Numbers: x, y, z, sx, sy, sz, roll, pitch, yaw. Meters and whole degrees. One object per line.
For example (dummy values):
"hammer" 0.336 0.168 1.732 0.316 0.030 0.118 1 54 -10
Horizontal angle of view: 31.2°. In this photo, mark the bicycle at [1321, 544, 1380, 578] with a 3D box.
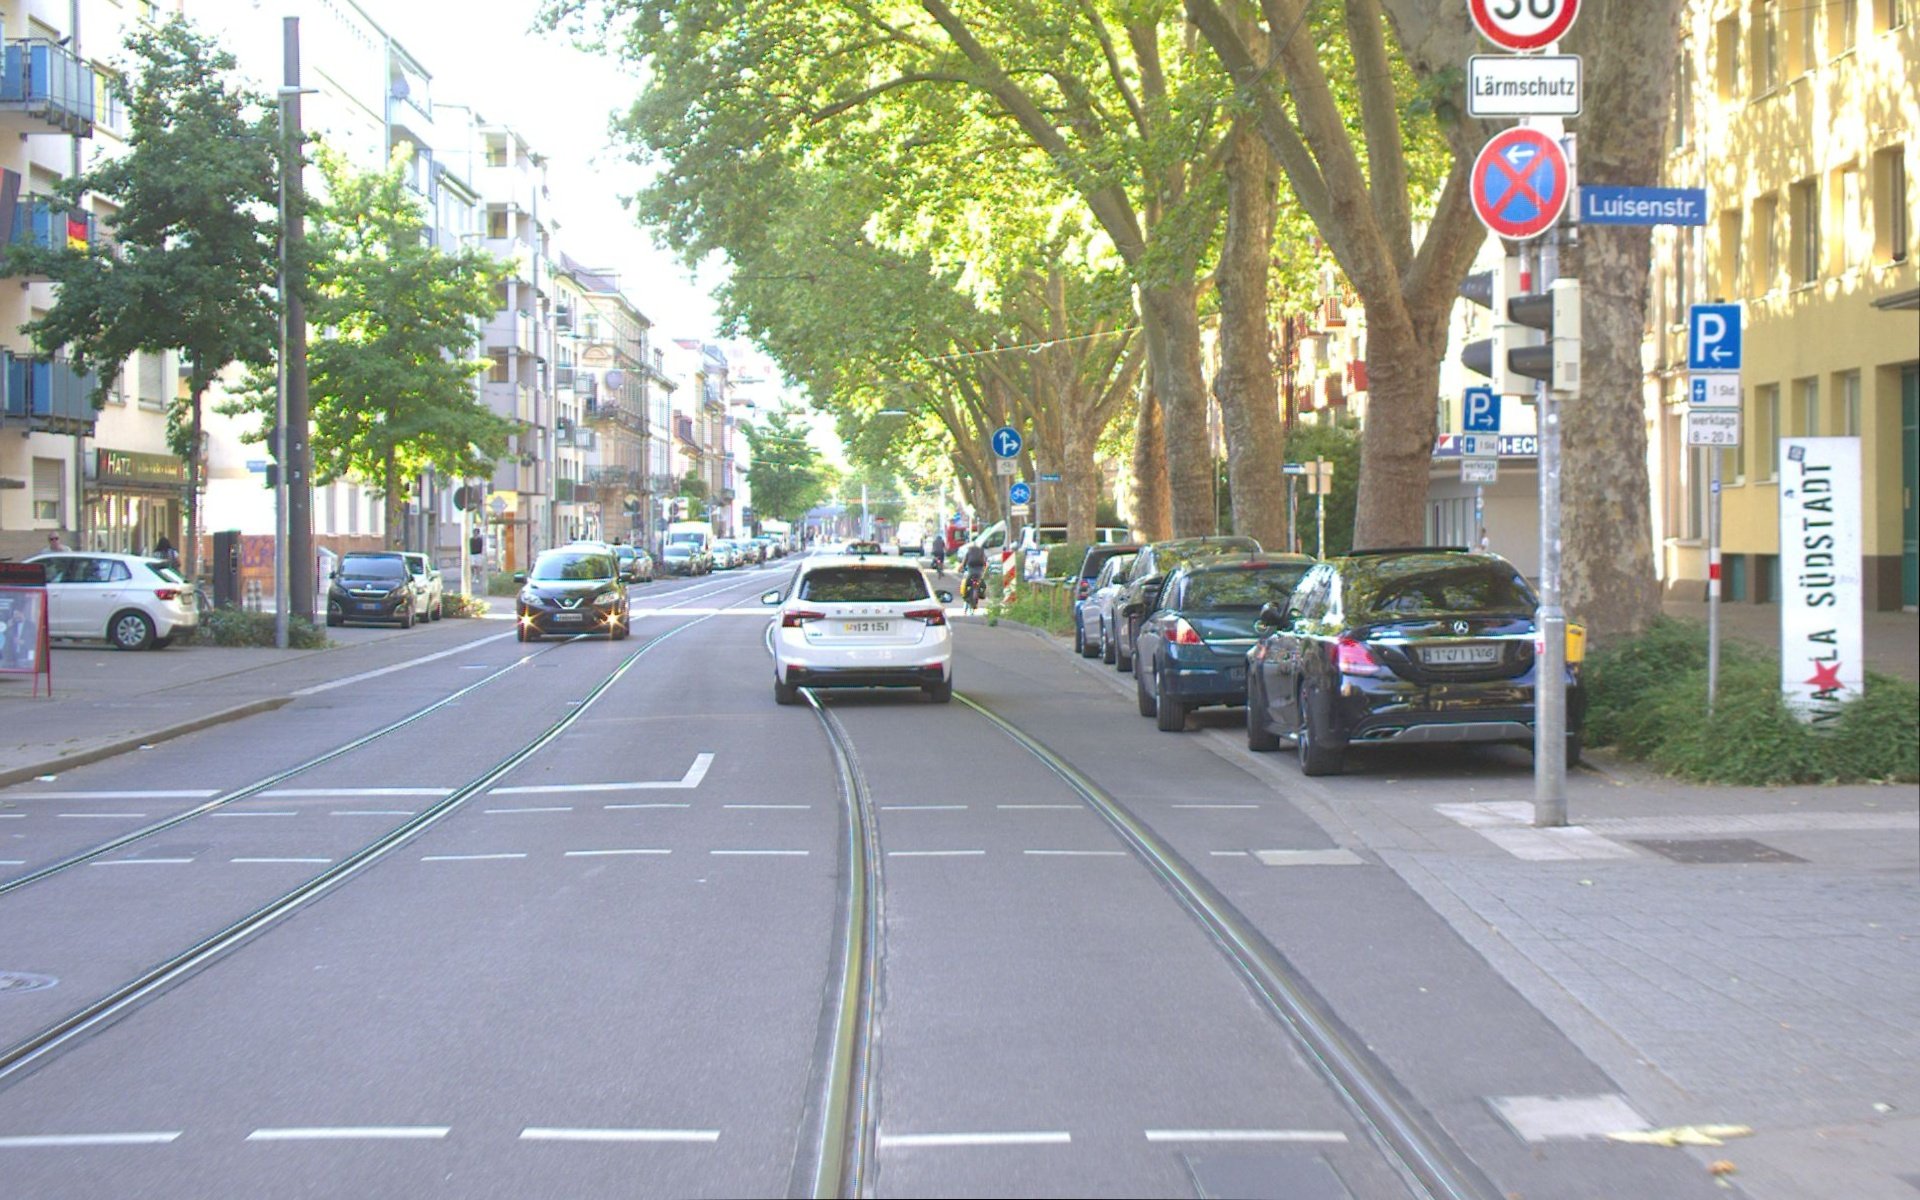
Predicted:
"bicycle" 12.788 -1.269 112.653 1.791 1.038 0.618 -2 1 -5

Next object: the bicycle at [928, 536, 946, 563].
"bicycle" -0.920 -2.003 136.116 0.649 1.067 1.583 -1 1 -3

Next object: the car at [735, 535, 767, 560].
"car" -13.963 -3.489 229.907 1.993 1.634 4.000 1 1 -1

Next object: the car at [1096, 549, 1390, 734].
"car" 2.358 0.299 29.713 1.864 1.432 4.227 -1 1 -4

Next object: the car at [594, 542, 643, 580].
"car" -13.172 -1.498 132.733 1.653 1.432 3.837 0 1 -3

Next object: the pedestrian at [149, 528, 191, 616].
"pedestrian" -15.269 -0.537 66.439 0.663 1.685 0.749 0 1 -2

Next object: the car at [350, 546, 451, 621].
"car" -11.770 -0.365 72.519 1.713 1.459 4.378 3 0 -5

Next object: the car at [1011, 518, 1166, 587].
"car" 3.916 -1.461 105.161 4.543 2.069 2.001 0 1 -3

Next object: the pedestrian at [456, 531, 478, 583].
"pedestrian" -17.218 -1.501 120.064 0.663 1.820 0.965 0 1 -2

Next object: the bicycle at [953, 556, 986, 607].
"bicycle" 0.198 -0.411 74.781 0.681 1.067 1.781 -1 1 0

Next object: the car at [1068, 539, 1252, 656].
"car" 2.614 -0.035 46.031 1.816 1.431 4.604 -2 0 -4

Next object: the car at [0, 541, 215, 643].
"car" -13.288 -0.132 51.258 4.012 1.470 1.852 1 0 -3

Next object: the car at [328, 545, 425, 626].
"car" -11.468 -0.308 67.736 1.713 1.459 4.001 3 0 -8

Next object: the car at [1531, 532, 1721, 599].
"car" 16.201 -0.849 83.767 4.130 1.588 2.000 0 1 -6

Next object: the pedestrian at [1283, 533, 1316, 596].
"pedestrian" 10.091 -1.062 102.288 0.766 1.860 1.189 -1 1 -5

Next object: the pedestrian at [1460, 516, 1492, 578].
"pedestrian" 13.638 -1.396 90.812 0.746 1.639 0.666 0 1 1

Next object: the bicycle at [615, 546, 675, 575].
"bicycle" -13.726 -1.705 149.830 2.525 1.168 0.883 2 -1 -40

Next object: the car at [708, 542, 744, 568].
"car" -14.135 -2.739 207.873 1.993 1.525 4.000 0 1 -1

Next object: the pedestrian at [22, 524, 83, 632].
"pedestrian" -14.203 -0.351 53.801 0.763 1.685 0.795 0 1 -2

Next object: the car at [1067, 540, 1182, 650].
"car" 2.397 -0.079 50.566 1.564 1.514 2.910 -2 0 1

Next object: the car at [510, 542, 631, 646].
"car" -6.454 -0.136 57.318 1.871 1.584 4.147 2 1 -5

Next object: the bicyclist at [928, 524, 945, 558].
"bicyclist" -0.929 -2.334 136.123 0.649 1.339 0.934 -1 1 -3

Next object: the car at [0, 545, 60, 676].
"car" -12.610 0.082 39.582 4.012 1.470 1.852 1 0 0

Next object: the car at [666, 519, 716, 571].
"car" -13.567 -2.784 173.578 2.178 2.588 4.949 0 1 -1

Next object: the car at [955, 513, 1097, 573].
"car" 2.890 -2.523 152.140 6.129 2.626 2.529 0 1 -2

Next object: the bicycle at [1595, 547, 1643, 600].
"bicycle" 14.182 -0.570 73.974 0.582 1.100 1.923 -2 1 -2

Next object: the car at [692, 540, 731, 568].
"car" -13.997 -2.606 193.910 1.993 1.525 4.000 0 1 -1

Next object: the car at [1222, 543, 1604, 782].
"car" 2.996 0.345 23.770 1.764 1.457 5.013 0 1 -3

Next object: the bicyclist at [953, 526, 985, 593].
"bicyclist" 0.199 -0.879 74.643 0.678 1.438 1.047 -1 1 0

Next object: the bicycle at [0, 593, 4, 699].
"bicycle" -9.912 0.428 32.313 1.690 1.003 0.658 1 0 -6

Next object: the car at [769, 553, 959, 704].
"car" -0.974 0.240 34.191 1.761 1.379 4.001 -1 1 -2

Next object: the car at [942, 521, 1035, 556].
"car" 1.917 -4.123 230.971 6.129 2.274 2.529 0 1 -2

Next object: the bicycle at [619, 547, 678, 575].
"bicycle" -13.679 -1.717 150.713 2.524 1.168 0.719 2 -1 -7

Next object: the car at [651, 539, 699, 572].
"car" -13.415 -2.090 161.862 1.993 1.525 4.000 0 1 -1

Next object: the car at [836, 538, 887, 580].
"car" -3.610 -1.521 126.171 1.761 1.470 4.000 -1 1 -1

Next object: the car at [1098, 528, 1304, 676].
"car" 2.772 0.011 40.577 1.857 1.598 4.783 -2 0 -2
